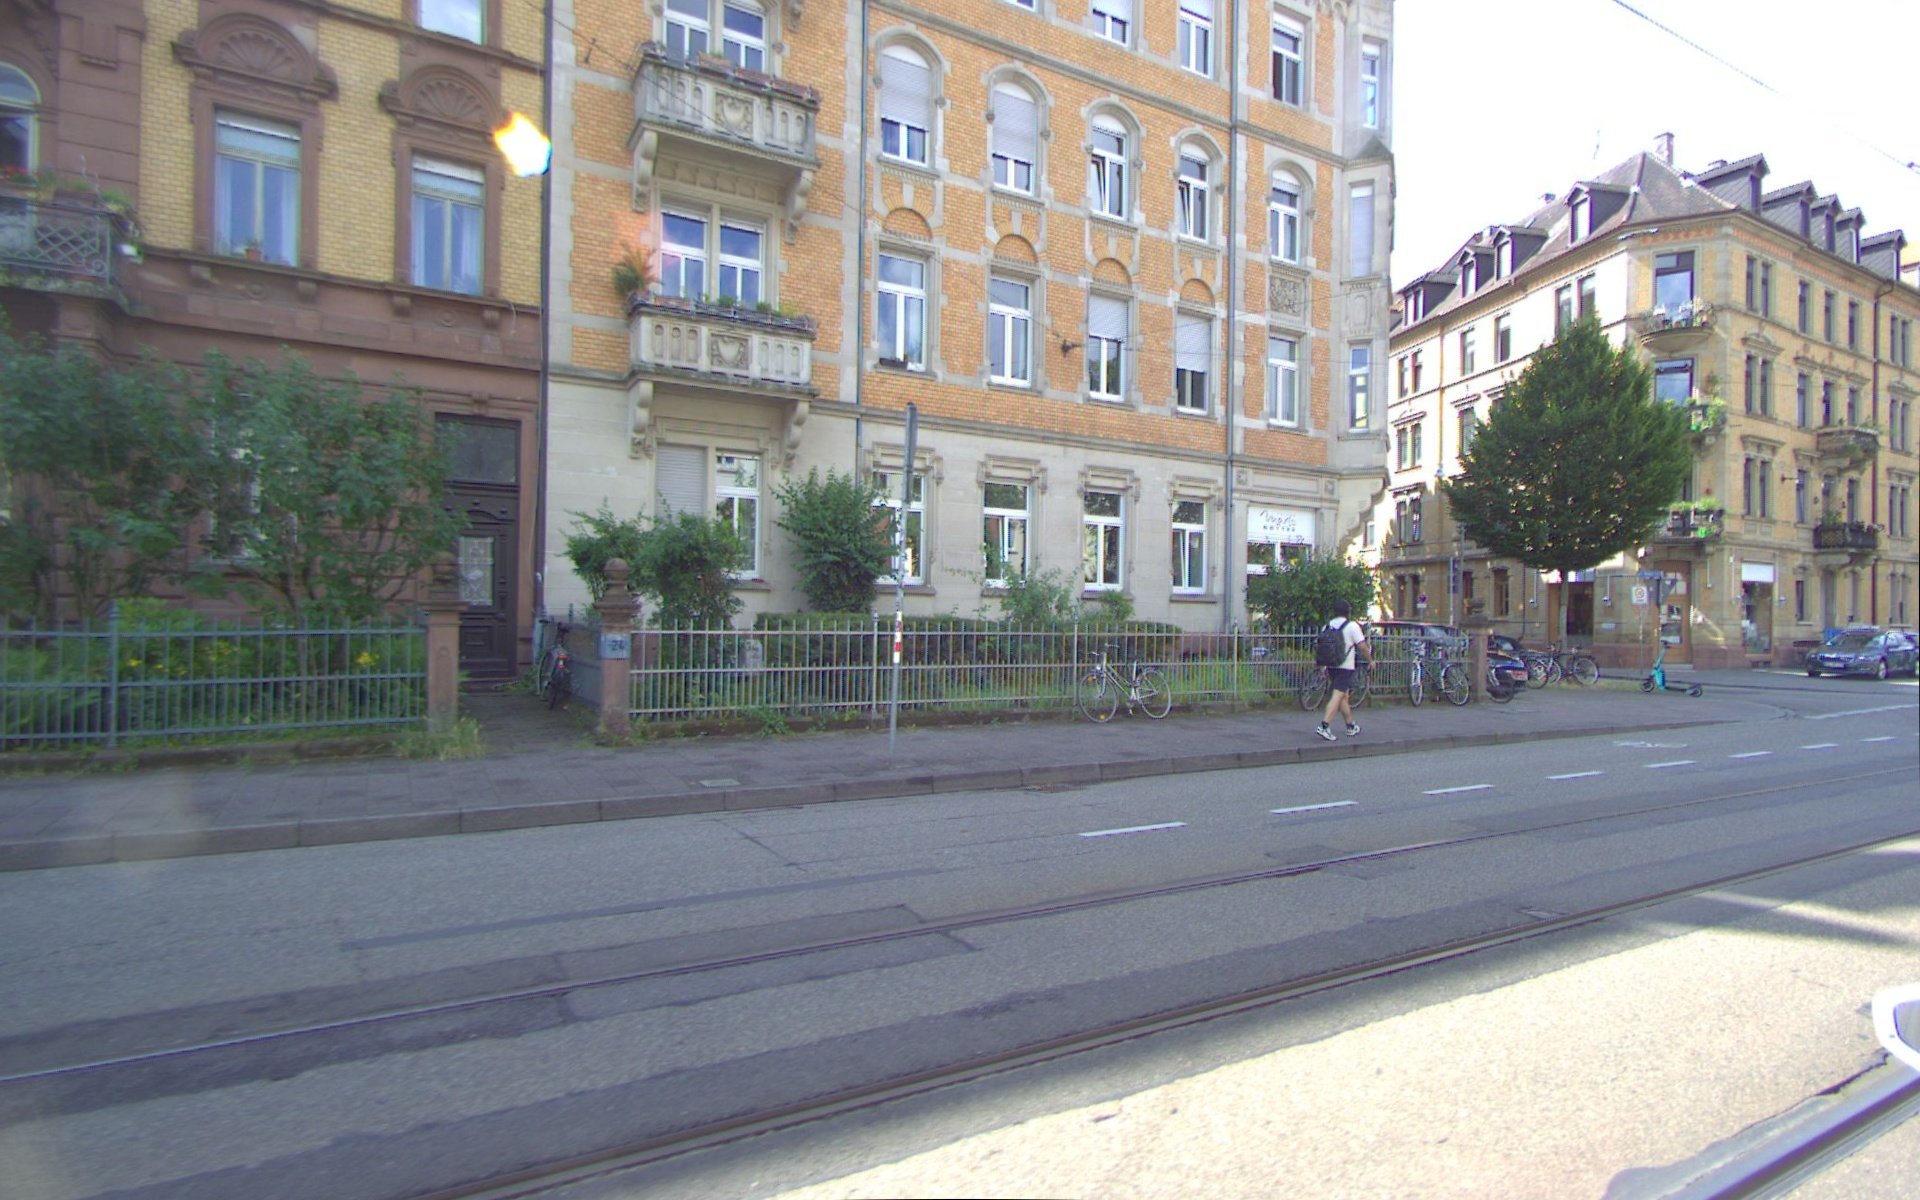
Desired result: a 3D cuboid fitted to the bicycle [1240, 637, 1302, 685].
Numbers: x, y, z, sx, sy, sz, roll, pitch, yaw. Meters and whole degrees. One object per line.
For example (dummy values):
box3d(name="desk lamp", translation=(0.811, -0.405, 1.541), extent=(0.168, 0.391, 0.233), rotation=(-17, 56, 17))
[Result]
box3d(name="bicycle", translation=(6.900, 1.338, 22.325), extent=(0.399, 0.989, 1.446), rotation=(1, -1, -29))

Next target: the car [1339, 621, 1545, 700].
box3d(name="car", translation=(9.986, 1.202, 21.069), extent=(1.763, 1.421, 3.592), rotation=(1, 0, -25))

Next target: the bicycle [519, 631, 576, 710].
box3d(name="bicycle", translation=(-5.494, 0.900, 13.335), extent=(0.418, 0.945, 1.933), rotation=(1, -1, -30))

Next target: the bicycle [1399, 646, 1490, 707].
box3d(name="bicycle", translation=(8.342, 1.286, 17.253), extent=(1.927, 0.989, 0.419), rotation=(1, -1, -31))

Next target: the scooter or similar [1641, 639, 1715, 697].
box3d(name="scooter or similar", translation=(16.588, 1.549, 23.226), extent=(1.342, 1.251, 0.403), rotation=(1, 0, 32))

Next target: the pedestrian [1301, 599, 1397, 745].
box3d(name="pedestrian", translation=(4.985, 0.903, 12.876), extent=(1.093, 1.784, 0.530), rotation=(1, 1, -31))

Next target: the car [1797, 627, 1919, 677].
box3d(name="car", translation=(28.626, 1.630, 31.884), extent=(4.708, 1.478, 1.677), rotation=(1, -1, -30))

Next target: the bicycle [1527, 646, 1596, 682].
box3d(name="bicycle", translation=(15.192, 1.612, 25.376), extent=(1.670, 0.849, 0.523), rotation=(0, 0, -17))

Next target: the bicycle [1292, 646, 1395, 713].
box3d(name="bicycle", translation=(6.085, 1.238, 15.882), extent=(1.927, 0.989, 0.419), rotation=(1, -1, -31))

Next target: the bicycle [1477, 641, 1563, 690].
box3d(name="bicycle", translation=(13.245, 1.536, 23.811), extent=(0.519, 1.078, 1.742), rotation=(0, -1, -35))

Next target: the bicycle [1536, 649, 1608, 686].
box3d(name="bicycle", translation=(15.024, 1.640, 24.656), extent=(1.670, 0.849, 0.523), rotation=(0, 0, -17))

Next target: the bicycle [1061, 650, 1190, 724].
box3d(name="bicycle", translation=(2.289, 1.167, 13.799), extent=(1.927, 0.945, 0.419), rotation=(1, -1, -31))

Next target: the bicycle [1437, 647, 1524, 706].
box3d(name="bicycle", translation=(9.591, 1.394, 18.556), extent=(0.399, 0.989, 1.446), rotation=(1, -1, -29))
